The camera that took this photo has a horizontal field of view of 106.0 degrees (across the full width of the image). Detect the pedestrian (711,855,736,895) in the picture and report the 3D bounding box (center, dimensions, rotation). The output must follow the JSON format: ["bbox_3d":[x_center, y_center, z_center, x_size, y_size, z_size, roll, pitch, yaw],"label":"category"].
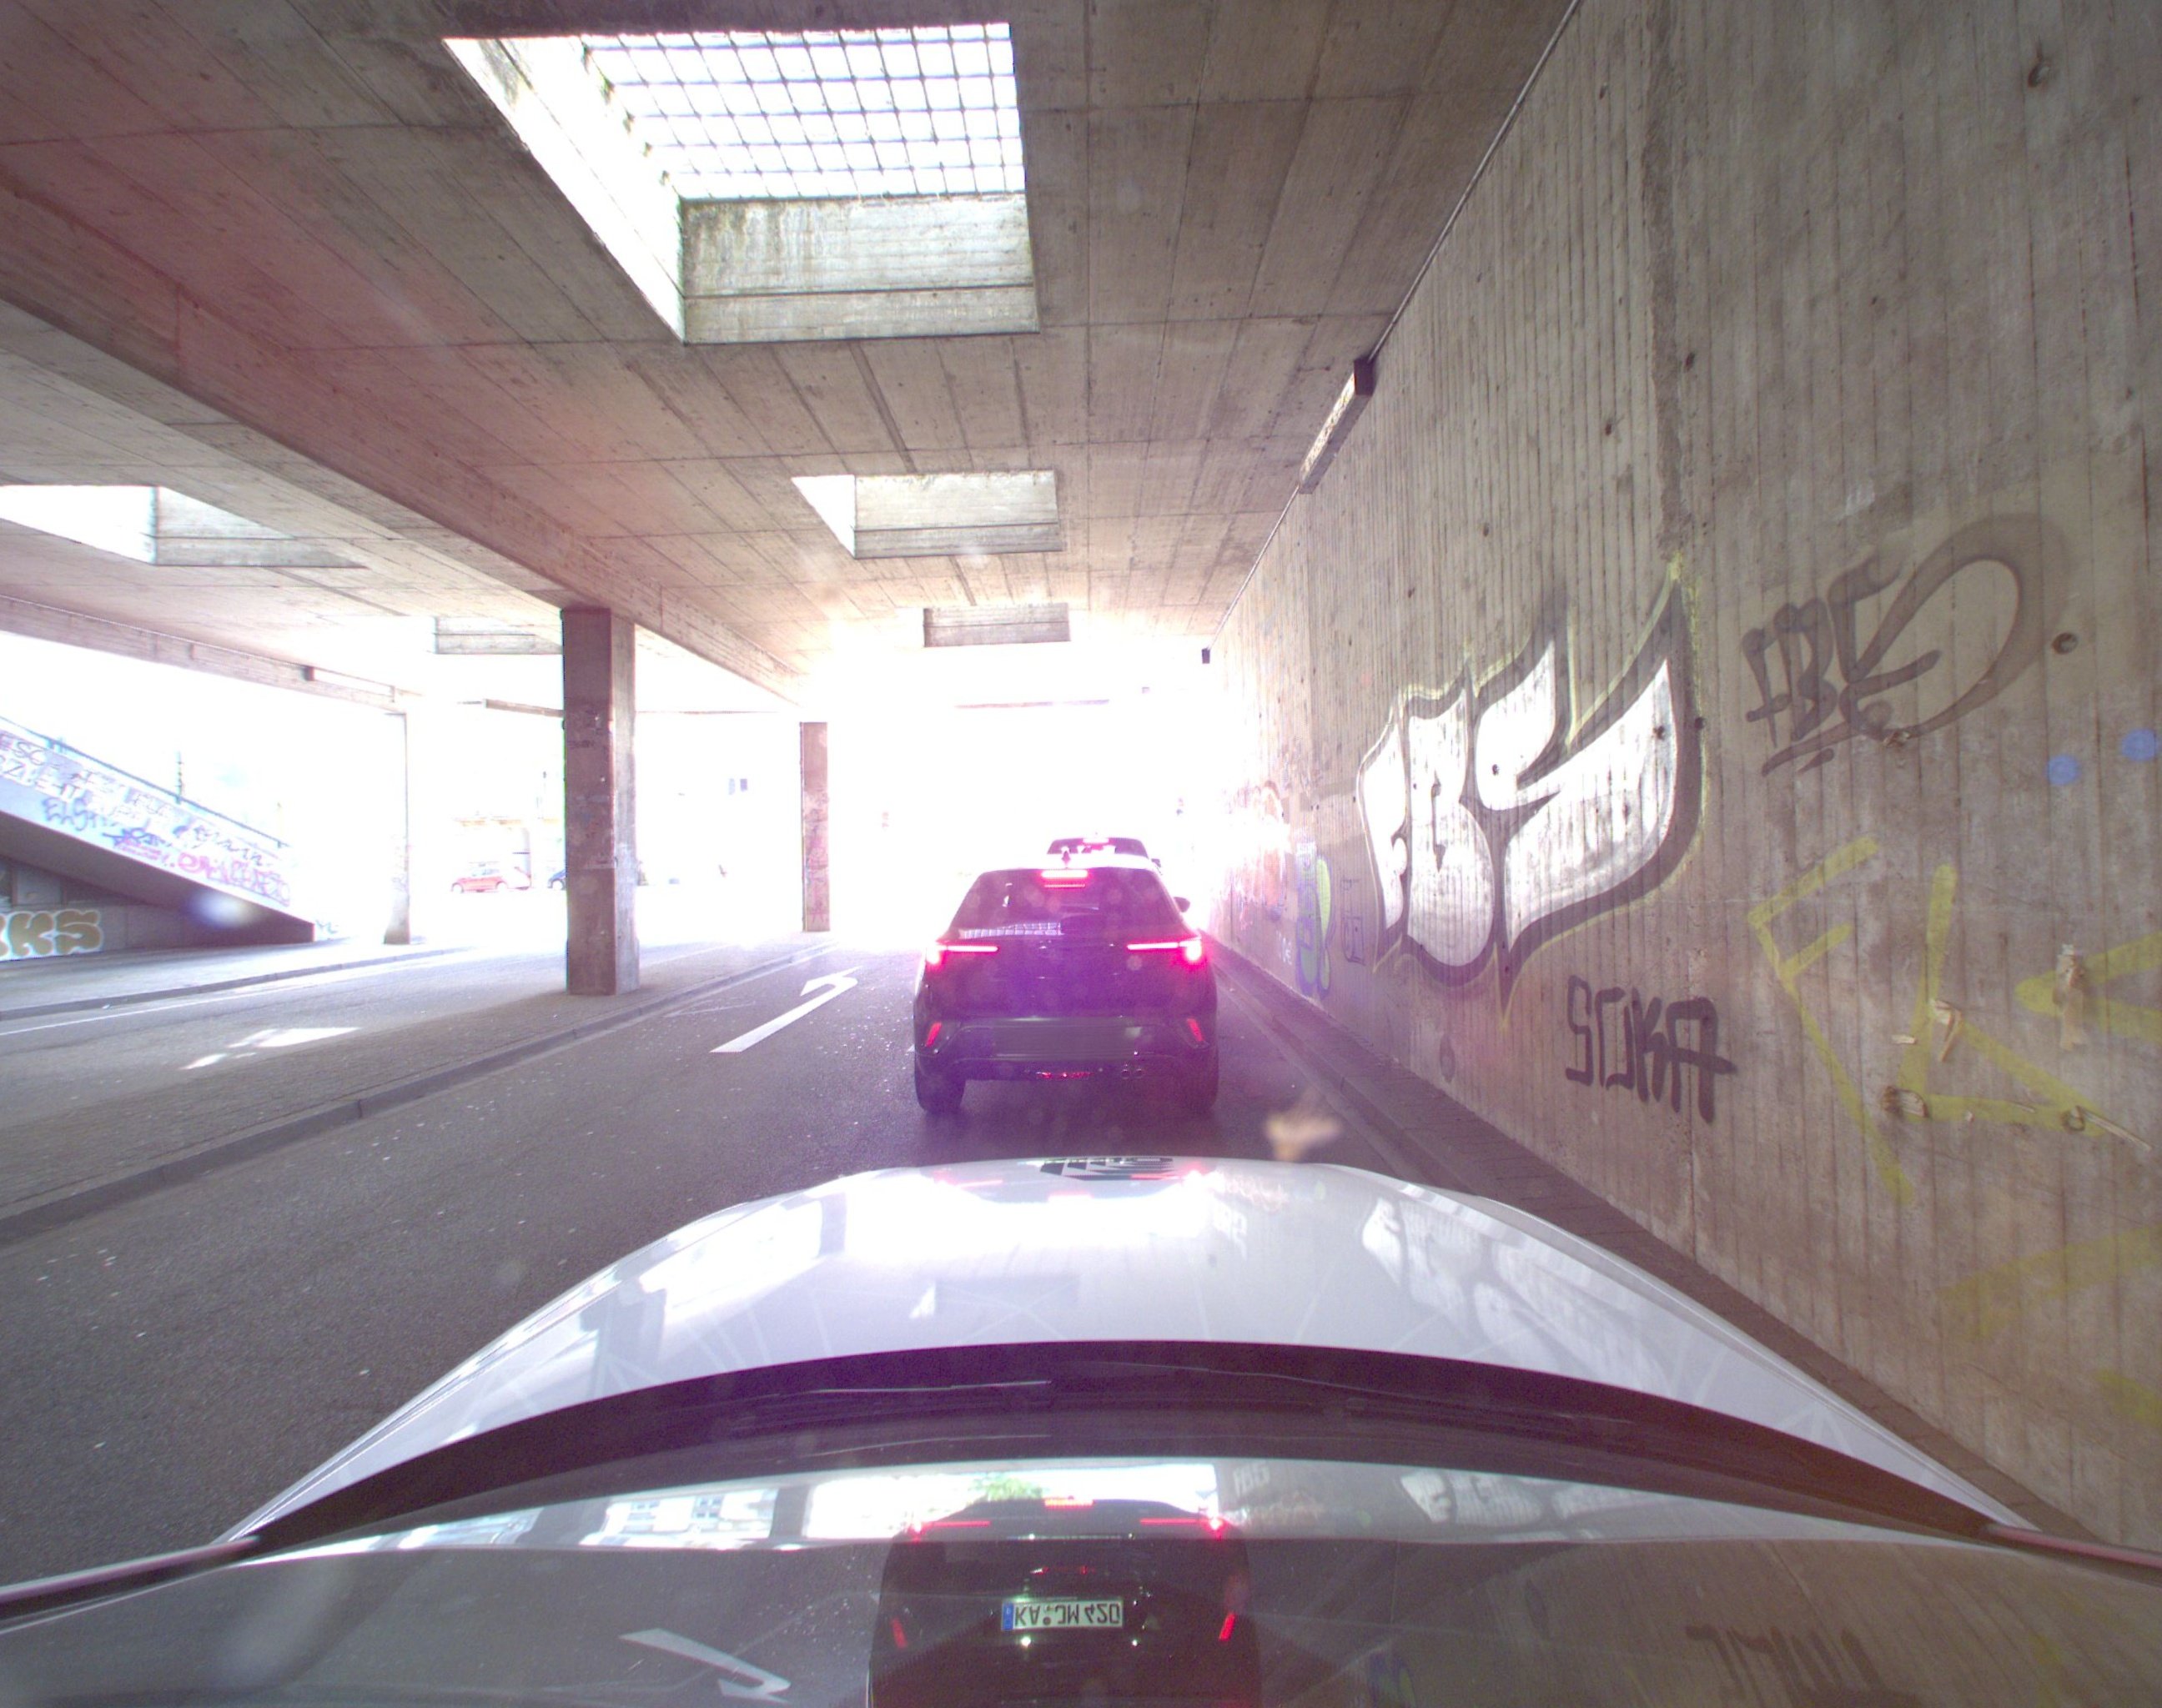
[{"bbox_3d":[-15.055,0.878,34.310,0.669,1.637,0.741,0,-1,1],"label":"pedestrian"}]

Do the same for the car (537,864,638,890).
[{"bbox_3d":[-27.292,1.263,45.150,4.393,1.409,1.925,0,-1,-1],"label":"car"}]

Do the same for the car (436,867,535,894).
[{"bbox_3d":[-32.983,1.435,45.185,3.975,1.409,1.925,0,-1,-1],"label":"car"}]

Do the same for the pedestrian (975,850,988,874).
[{"bbox_3d":[-8.532,0.684,69.634,0.887,2.088,0.810,-1,-1,9],"label":"pedestrian"}]

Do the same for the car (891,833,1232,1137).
[{"bbox_3d":[-0.036,0.647,6.228,1.758,1.571,4.002,0,1,2],"label":"car"}]

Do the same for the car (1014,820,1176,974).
[{"bbox_3d":[0.239,0.538,12.187,1.986,1.871,4.002,-2,0,2],"label":"car"}]

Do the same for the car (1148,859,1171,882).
[{"bbox_3d":[7.210,1.487,74.798,1.983,1.970,4.172,0,-1,7],"label":"car"}]

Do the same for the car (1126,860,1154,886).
[{"bbox_3d":[4.645,1.446,63.404,1.983,1.970,4.172,0,-1,7],"label":"car"}]

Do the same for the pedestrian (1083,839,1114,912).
[{"bbox_3d":[0.441,0.514,19.957,0.728,1.734,0.874,0,-1,1],"label":"pedestrian"}]
